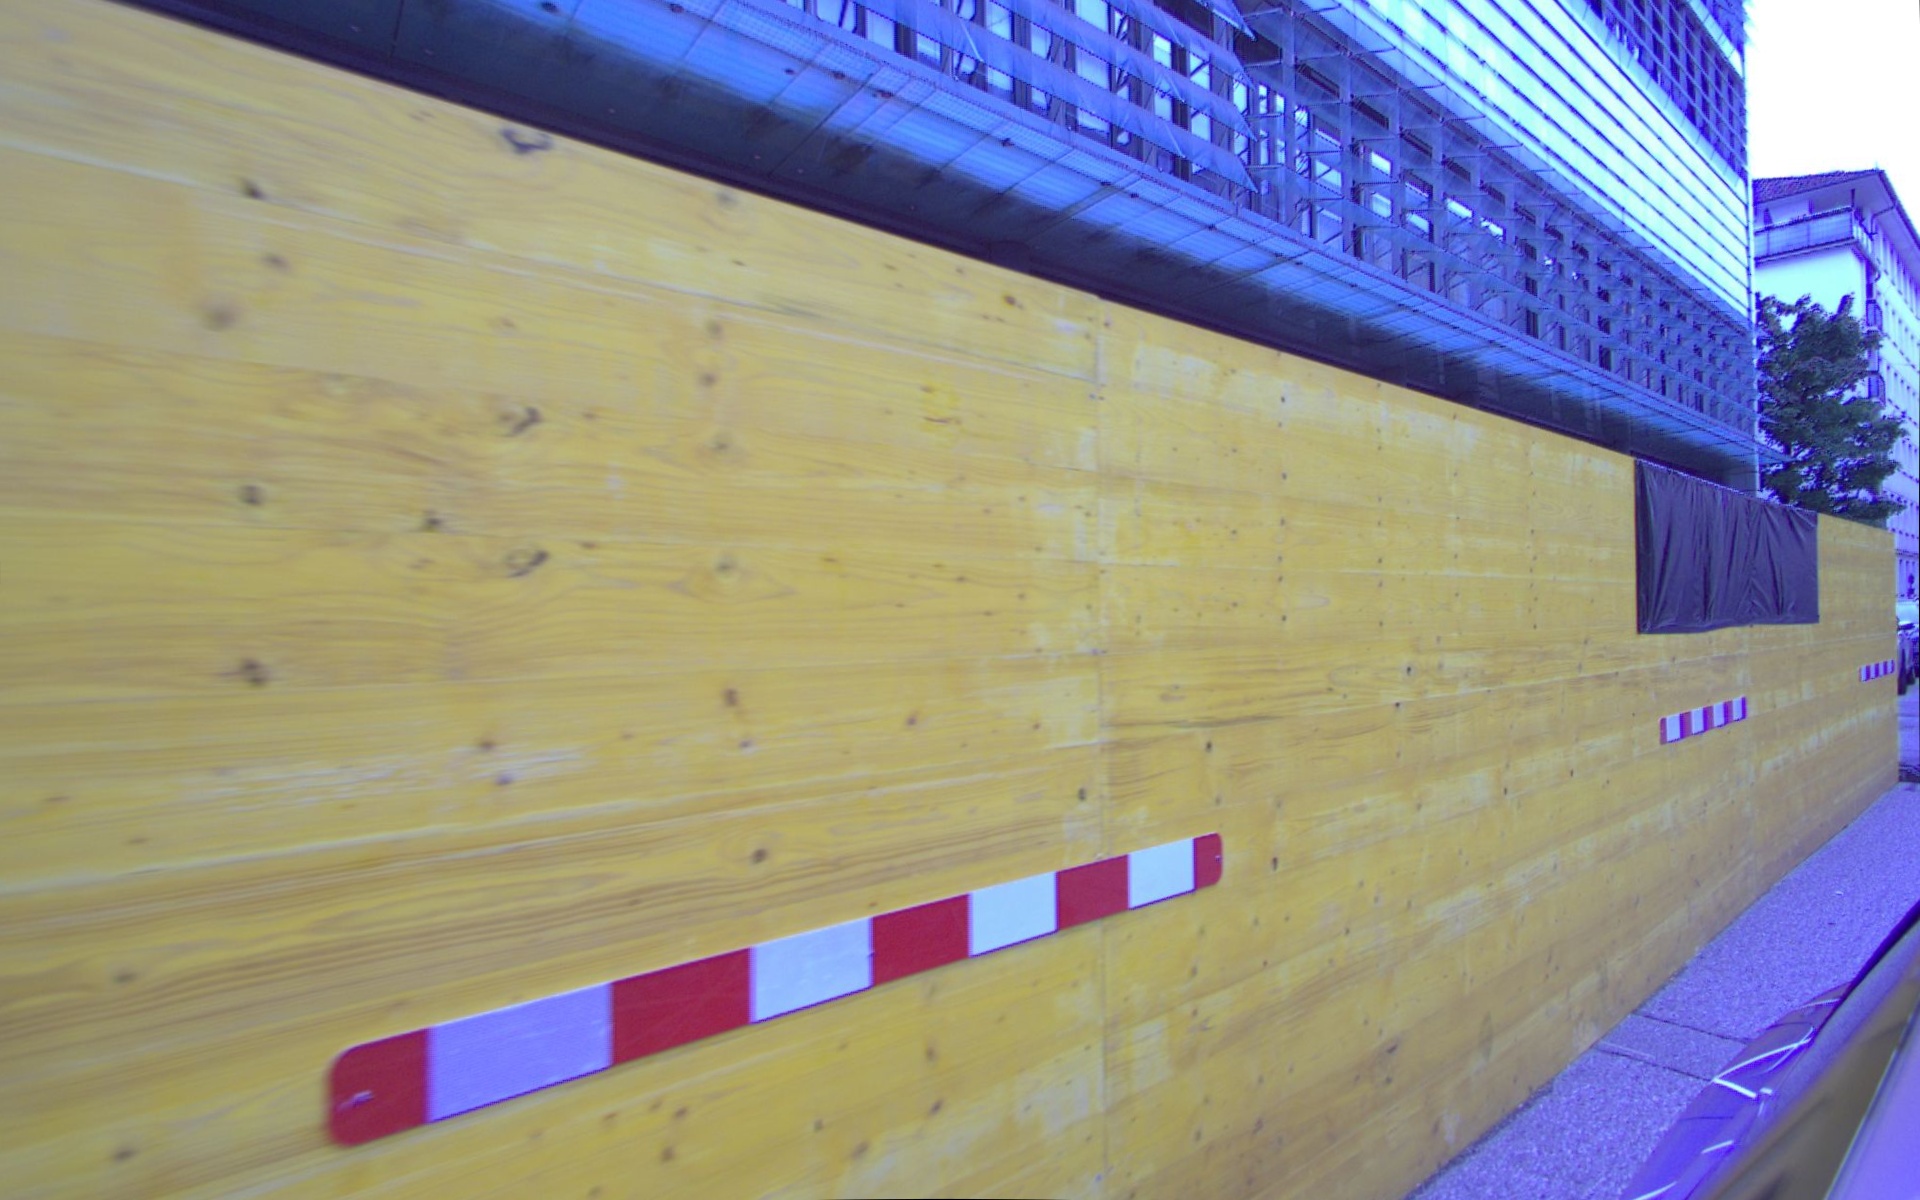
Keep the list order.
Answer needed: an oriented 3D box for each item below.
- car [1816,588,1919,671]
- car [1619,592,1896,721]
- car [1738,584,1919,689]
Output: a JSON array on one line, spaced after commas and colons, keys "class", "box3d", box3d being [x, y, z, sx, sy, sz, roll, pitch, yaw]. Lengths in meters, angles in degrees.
[{"class": "car", "box3d": [18.509, 0.528, 20.012, 4.205, 1.504, 1.874, 0, -1, -42]}, {"class": "car", "box3d": [10.488, 0.614, 13.181, 4.577, 1.392, 1.996, 0, -1, -41]}, {"class": "car", "box3d": [14.585, 0.564, 16.762, 4.207, 1.506, 1.994, 0, -3, -44]}]
